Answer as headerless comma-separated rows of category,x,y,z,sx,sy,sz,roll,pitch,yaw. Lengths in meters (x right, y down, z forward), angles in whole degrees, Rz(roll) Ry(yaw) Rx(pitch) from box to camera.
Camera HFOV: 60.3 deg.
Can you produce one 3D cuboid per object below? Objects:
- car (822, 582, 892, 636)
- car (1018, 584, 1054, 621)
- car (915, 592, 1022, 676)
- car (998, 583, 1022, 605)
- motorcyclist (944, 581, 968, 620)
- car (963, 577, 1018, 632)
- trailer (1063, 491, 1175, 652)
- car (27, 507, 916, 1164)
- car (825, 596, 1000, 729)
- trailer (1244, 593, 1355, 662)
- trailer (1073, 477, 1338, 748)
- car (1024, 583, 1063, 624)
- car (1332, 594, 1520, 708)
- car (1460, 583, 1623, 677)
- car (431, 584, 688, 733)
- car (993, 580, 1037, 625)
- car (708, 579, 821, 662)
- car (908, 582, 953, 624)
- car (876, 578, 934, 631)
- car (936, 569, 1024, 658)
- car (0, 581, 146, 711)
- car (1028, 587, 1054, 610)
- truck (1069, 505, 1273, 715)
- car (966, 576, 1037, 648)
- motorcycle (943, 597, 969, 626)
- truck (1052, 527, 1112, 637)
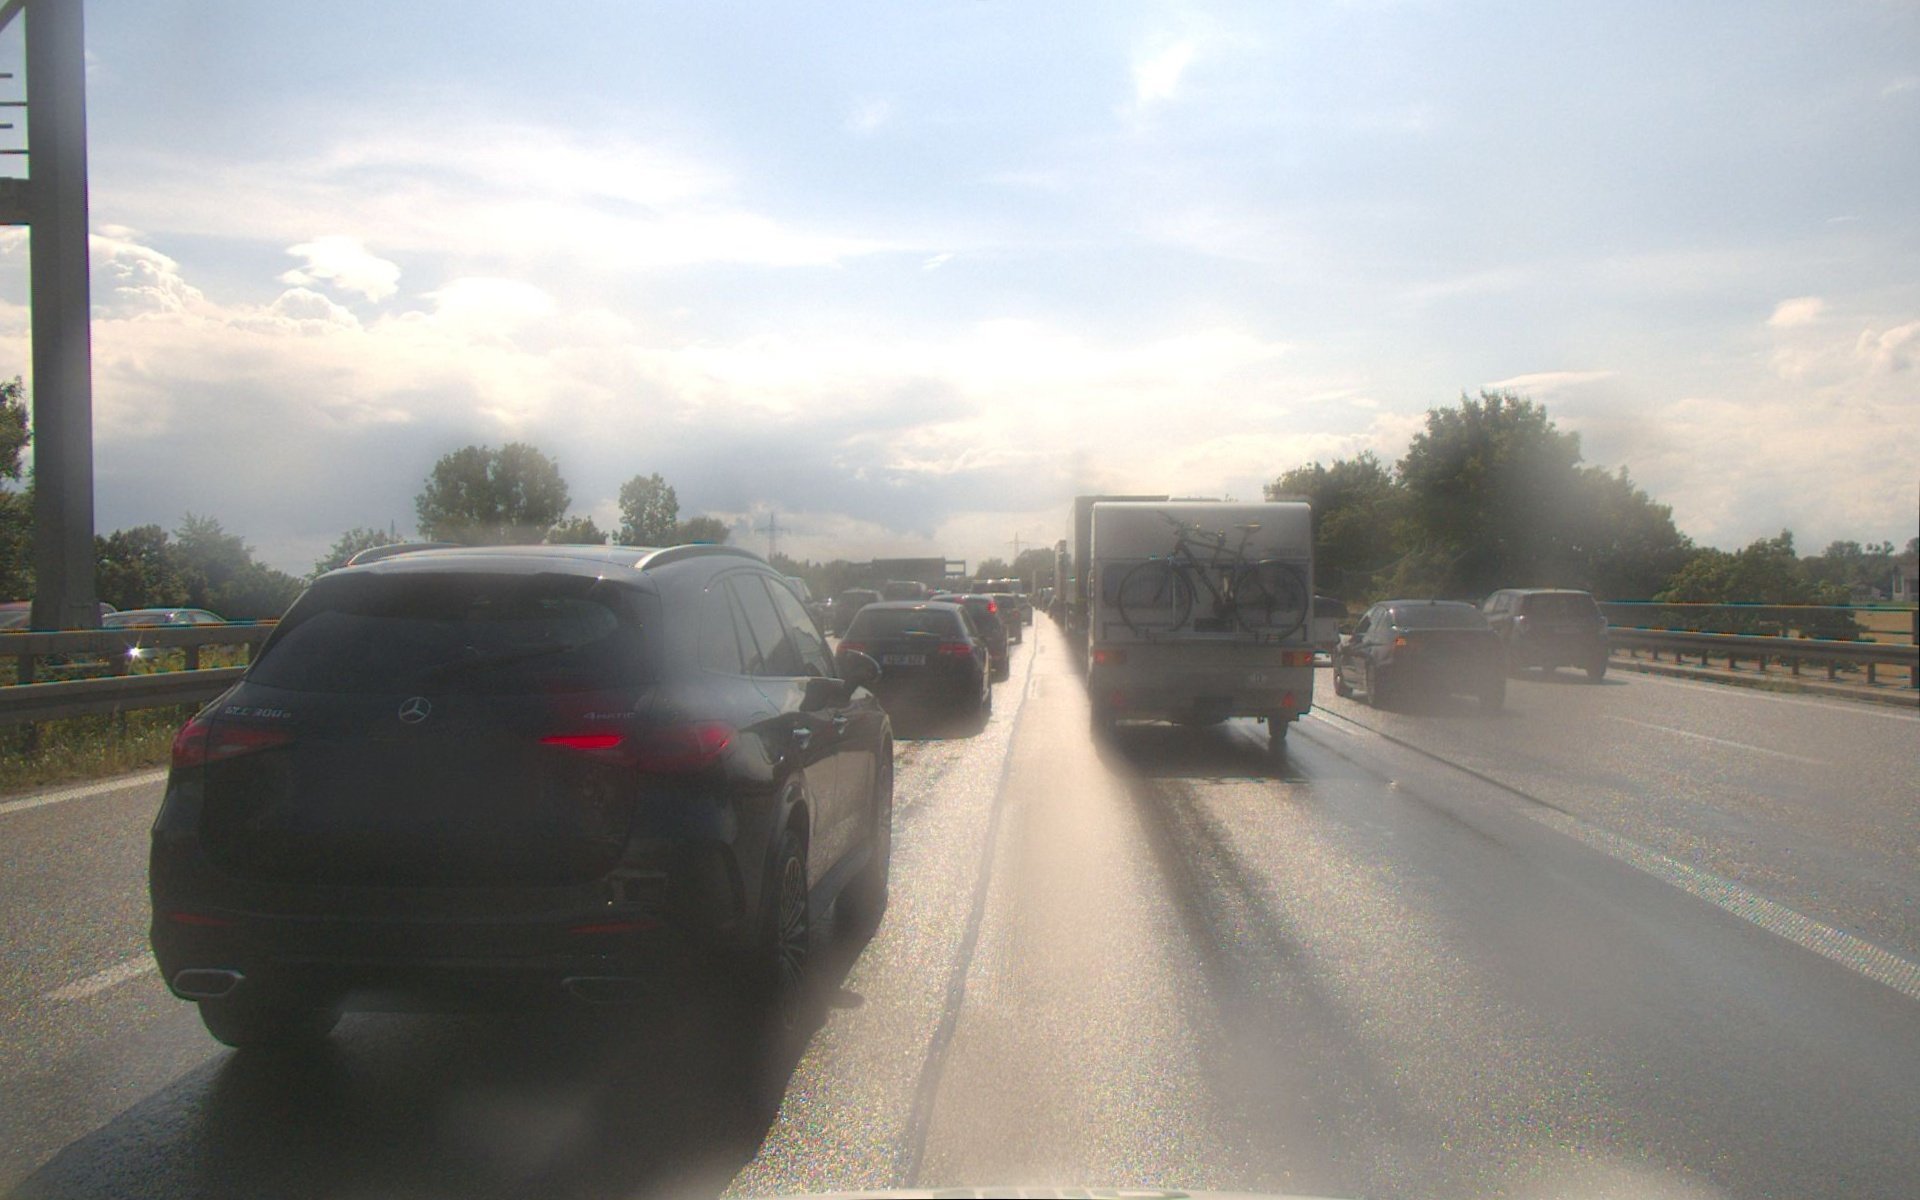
car,-3.536,0.301,57.631,1.952,1.803,4.002,0,0,3
car,4.543,0.137,98.611,1.952,2.048,4.002,4,0,3
car,0.221,0.588,30.598,1.768,1.432,4.002,1,0,3
car,4.193,-0.528,138.586,1.837,1.791,4.000,1,0,0
motorcyclist,-0.169,0.019,75.690,1.041,1.748,0.785,0,0,3
car,1.240,0.168,65.004,1.952,2.049,4.002,1,0,3
trailer,4.569,-0.771,47.994,2.943,4.239,8.541,0,0,5
car,-1.348,0.607,6.516,1.952,1.690,4.408,0,0,4
car,-0.462,0.668,19.751,1.720,1.411,3.947,0,0,4
trailer,7.594,0.573,37.345,1.816,1.467,4.149,0,0,3
trailer,2.524,0.114,18.785,2.324,2.526,6.525,1,0,3
car,4.436,0.169,87.148,1.952,2.049,4.002,2,0,3
car,6.391,0.651,23.077,1.704,1.445,3.837,0,0,3
car,10.906,0.517,31.330,1.751,1.641,4.387,0,0,3
car,-4.501,0.598,19.255,1.720,1.543,4.211,0,0,4
car,2.665,0.097,78.690,1.952,2.049,4.002,1,0,3
car,-4.351,0.434,37.382,1.952,1.750,4.001,1,0,1
car,-1.446,0.140,82.486,1.952,2.049,4.002,0,0,3
car,-2.310,0.185,70.583,1.952,2.048,4.002,4,0,3
car,0.549,0.306,40.615,1.952,2.049,4.002,1,0,3
car,-16.030,0.720,28.126,1.952,2.049,4.654,0,0,2
car,6.550,-0.142,133.865,1.837,1.791,4.000,1,0,0
truck,2.738,0.117,22.894,2.324,2.520,5.758,1,0,3
car,1.333,0.356,51.480,1.952,2.048,4.002,4,0,3
motorcycle,-0.171,0.501,75.637,1.051,1.293,2.691,0,0,4
truck,5.720,-0.825,78.326,2.450,4.914,7.545,1,0,2
